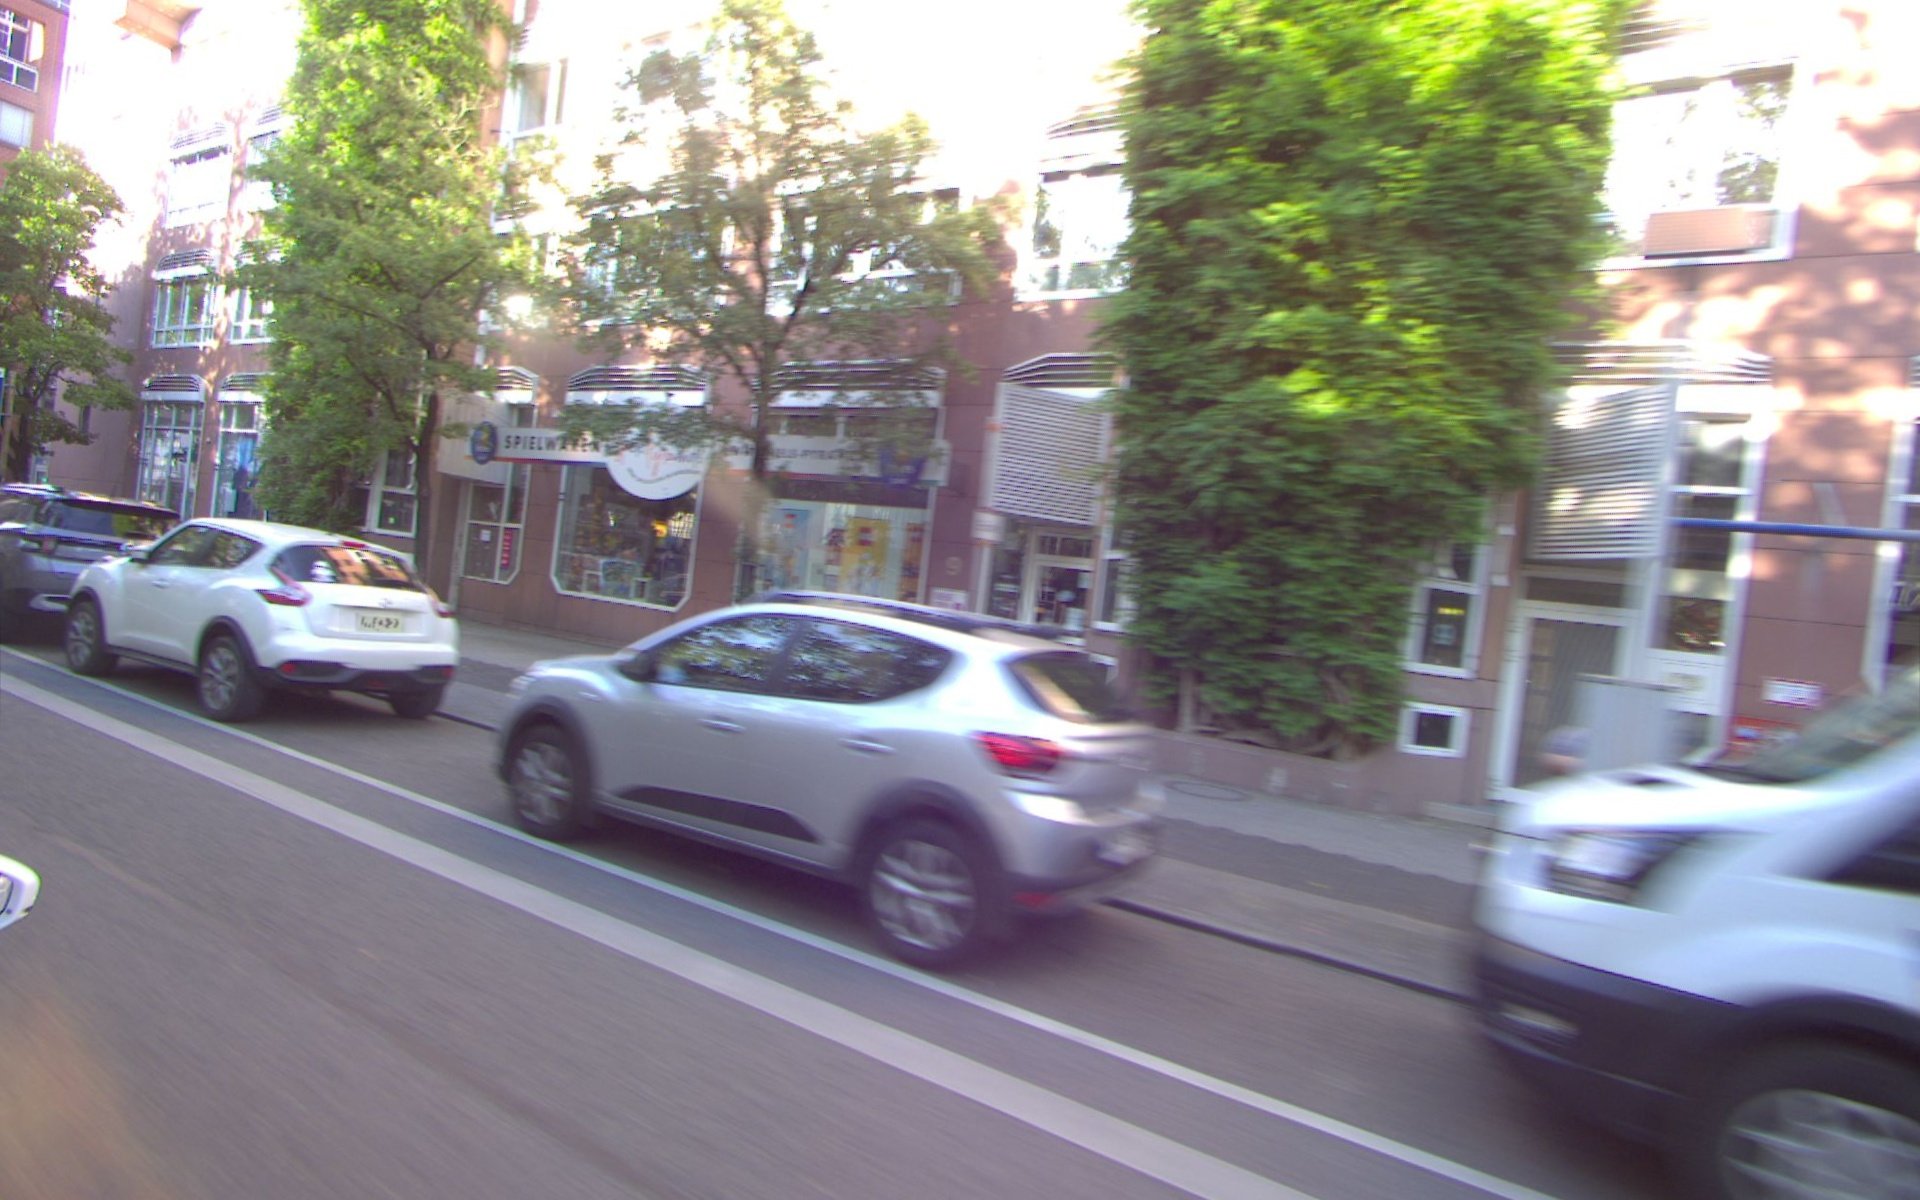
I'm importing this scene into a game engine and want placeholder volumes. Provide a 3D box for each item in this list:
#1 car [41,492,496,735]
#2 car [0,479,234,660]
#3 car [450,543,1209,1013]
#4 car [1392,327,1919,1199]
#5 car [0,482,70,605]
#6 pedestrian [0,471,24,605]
[{"bbox_3d":[-6.358,0.062,9.181,3.932,1.598,1.831,7,0,30],"label":"car"},{"bbox_3d":[-10.546,-0.461,11.627,4.365,1.690,1.790,7,0,30],"label":"car"},{"bbox_3d":[-0.837,0.727,5.819,3.932,1.598,1.831,7,0,30],"label":"car"},{"bbox_3d":[4.514,0.852,2.565,5.806,2.596,2.118,7,0,31],"label":"car"},{"bbox_3d":[-15.469,-1.053,15.161,4.129,1.690,1.790,7,0,30],"label":"car"},{"bbox_3d":[-13.396,-0.875,13.605,0.652,1.835,0.714,7,1,-11],"label":"pedestrian"}]
